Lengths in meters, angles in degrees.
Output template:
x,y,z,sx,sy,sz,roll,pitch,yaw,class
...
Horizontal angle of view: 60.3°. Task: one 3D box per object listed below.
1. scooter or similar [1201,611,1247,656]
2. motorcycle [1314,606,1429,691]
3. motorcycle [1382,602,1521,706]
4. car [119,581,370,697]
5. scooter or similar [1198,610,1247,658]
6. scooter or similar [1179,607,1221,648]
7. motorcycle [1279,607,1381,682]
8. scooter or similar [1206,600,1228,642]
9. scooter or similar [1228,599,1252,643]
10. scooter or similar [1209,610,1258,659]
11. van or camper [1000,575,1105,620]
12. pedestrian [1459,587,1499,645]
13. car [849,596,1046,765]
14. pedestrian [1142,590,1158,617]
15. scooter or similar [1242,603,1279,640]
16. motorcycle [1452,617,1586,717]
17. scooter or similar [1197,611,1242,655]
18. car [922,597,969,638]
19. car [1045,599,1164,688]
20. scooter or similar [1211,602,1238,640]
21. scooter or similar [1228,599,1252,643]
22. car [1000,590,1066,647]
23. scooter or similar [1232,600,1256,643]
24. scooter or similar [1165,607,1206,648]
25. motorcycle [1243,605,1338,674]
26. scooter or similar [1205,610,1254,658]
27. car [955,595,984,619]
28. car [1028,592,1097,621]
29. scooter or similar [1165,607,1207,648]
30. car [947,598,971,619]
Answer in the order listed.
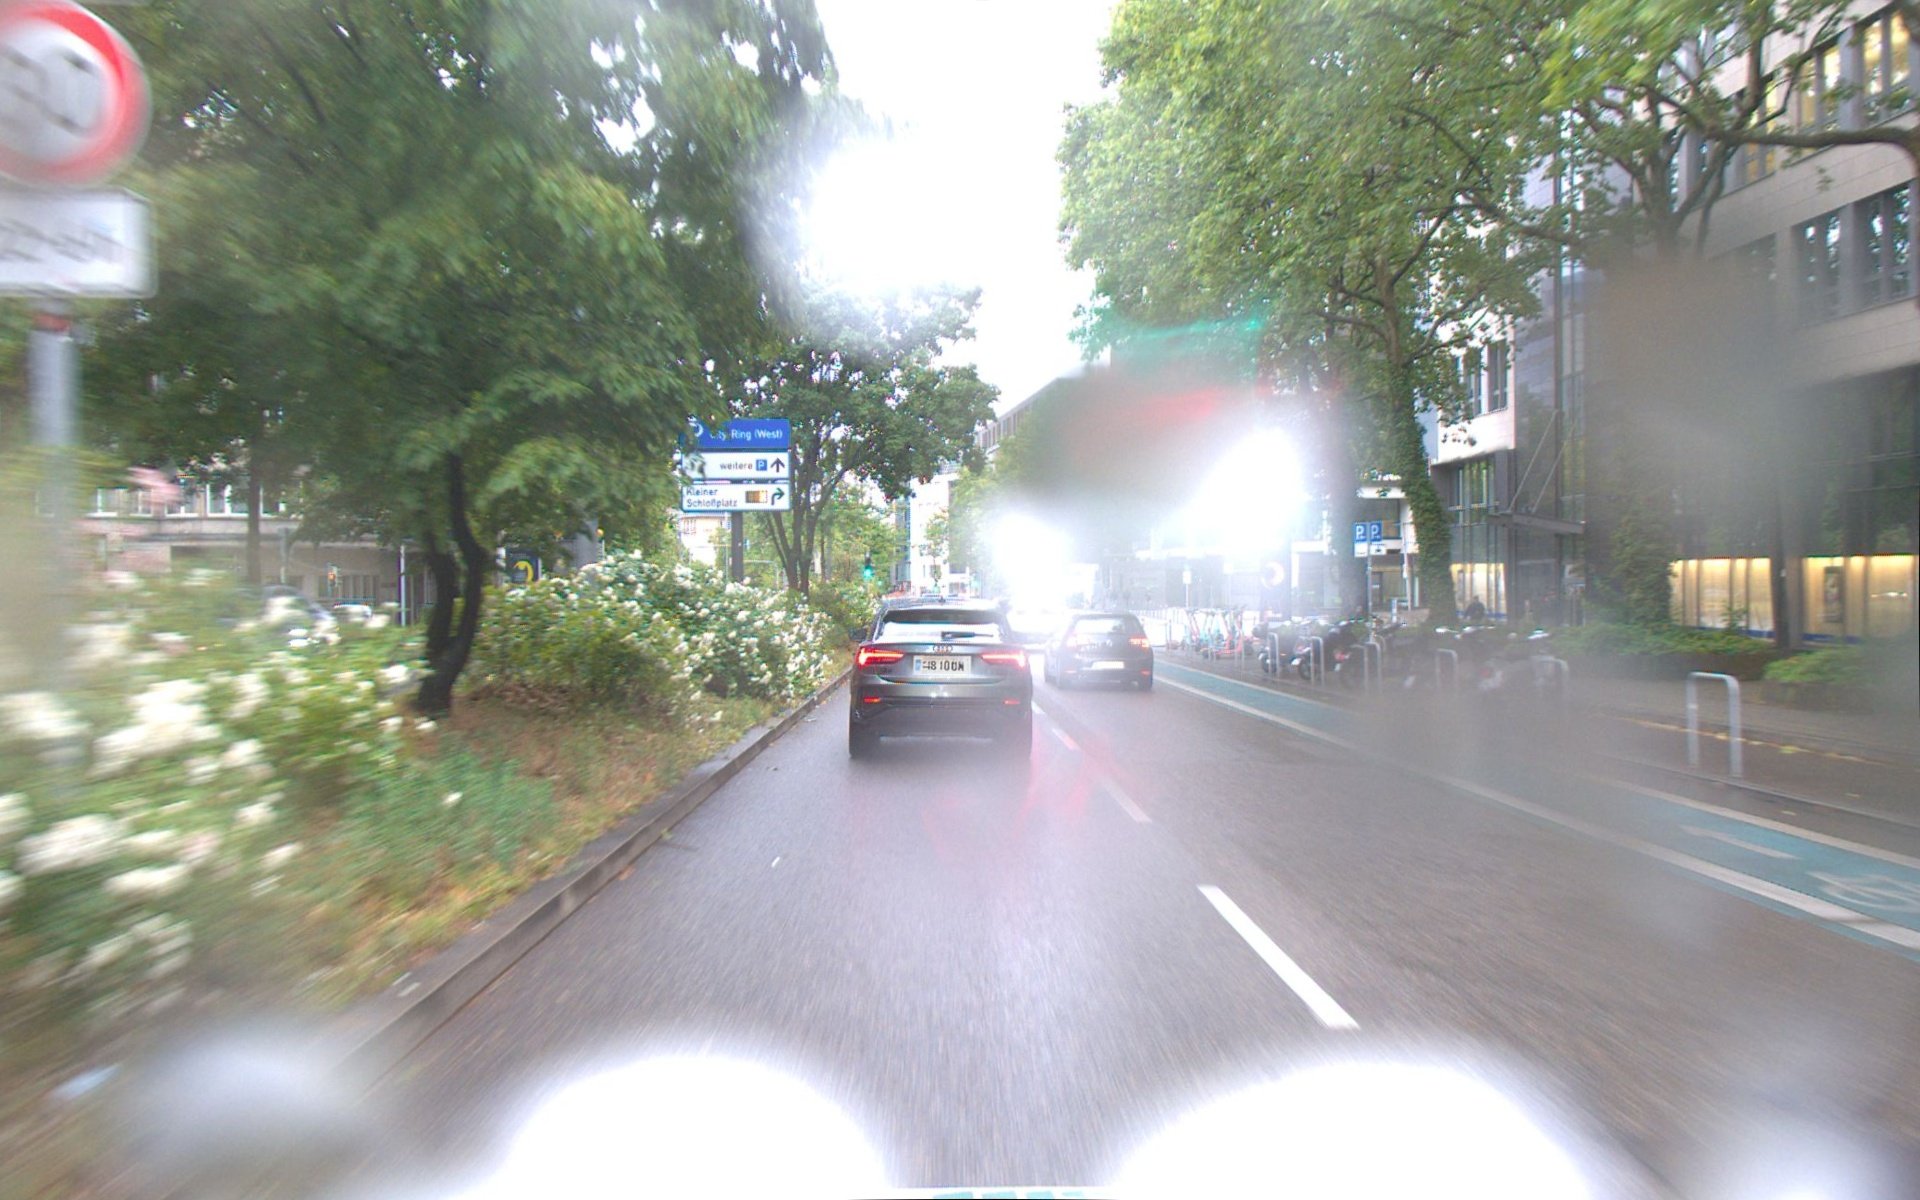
x,y,z,sx,sy,sz,roll,pitch,yaw,class
7.760,0.982,48.659,1.263,1.257,0.489,-1,1,1,scooter or similar
7.347,0.845,29.525,1.929,1.397,0.724,-2,2,-23,motorcycle
7.465,0.799,25.133,2.025,1.453,0.724,-2,2,-23,motorcycle
-10.193,0.521,23.958,1.692,1.453,4.496,-2,0,-1,car
7.383,0.948,46.513,1.267,1.300,0.535,-1,1,-12,scooter or similar
7.600,0.872,52.316,1.262,1.282,0.490,-1,1,11,scooter or similar
7.371,0.871,32.958,1.929,1.397,0.724,-2,2,-23,motorcycle
8.300,0.665,53.494,0.477,1.282,1.293,-1,2,-1,scooter or similar
8.542,0.633,50.563,0.477,1.282,1.293,-1,2,-1,scooter or similar
7.491,0.936,45.387,1.262,1.300,0.537,-1,1,3,scooter or similar
5.550,-0.146,99.489,5.946,2.603,2.103,0,0,26,van or camper
17.205,0.535,54.842,0.898,1.882,1.276,1,-1,-2,pedestrian
-0.177,0.748,17.387,1.812,1.550,4.037,1,0,-2,car
12.457,0.212,108.351,0.789,1.726,1.186,1,0,-5,pedestrian
9.832,0.702,54.158,0.483,1.219,1.279,1,-1,-31,scooter or similar
7.721,0.902,22.805,2.038,1.234,0.676,-2,0,-37,motorcycle
7.744,0.991,49.403,1.263,1.257,0.489,-1,1,1,scooter or similar
-0.601,0.662,65.707,1.812,1.550,4.037,1,0,-1,car
2.646,0.775,31.175,1.812,1.550,4.037,1,0,-1,car
8.681,0.683,54.358,0.479,1.219,1.290,0,-1,-10,scooter or similar
8.542,0.633,50.563,0.477,1.282,1.293,-1,2,-1,scooter or similar
2.257,0.553,52.098,1.812,1.698,4.037,1,0,-1,car
8.891,0.655,51.802,0.477,1.282,1.293,-1,2,-1,scooter or similar
7.287,0.880,53.455,1.262,1.282,0.490,-1,1,11,scooter or similar
7.228,0.853,36.228,1.925,1.397,0.726,-2,2,-18,motorcycle
7.467,0.941,45.831,1.262,1.300,0.537,-1,1,3,scooter or similar
0.602,0.475,111.011,1.812,1.550,4.037,1,0,-1,car
5.790,0.337,93.372,3.572,1.574,1.715,1,0,18,car
7.223,0.871,52.842,1.262,1.282,0.490,-1,1,11,scooter or similar
-0.085,0.623,127.652,1.812,1.550,4.037,1,0,-1,car
